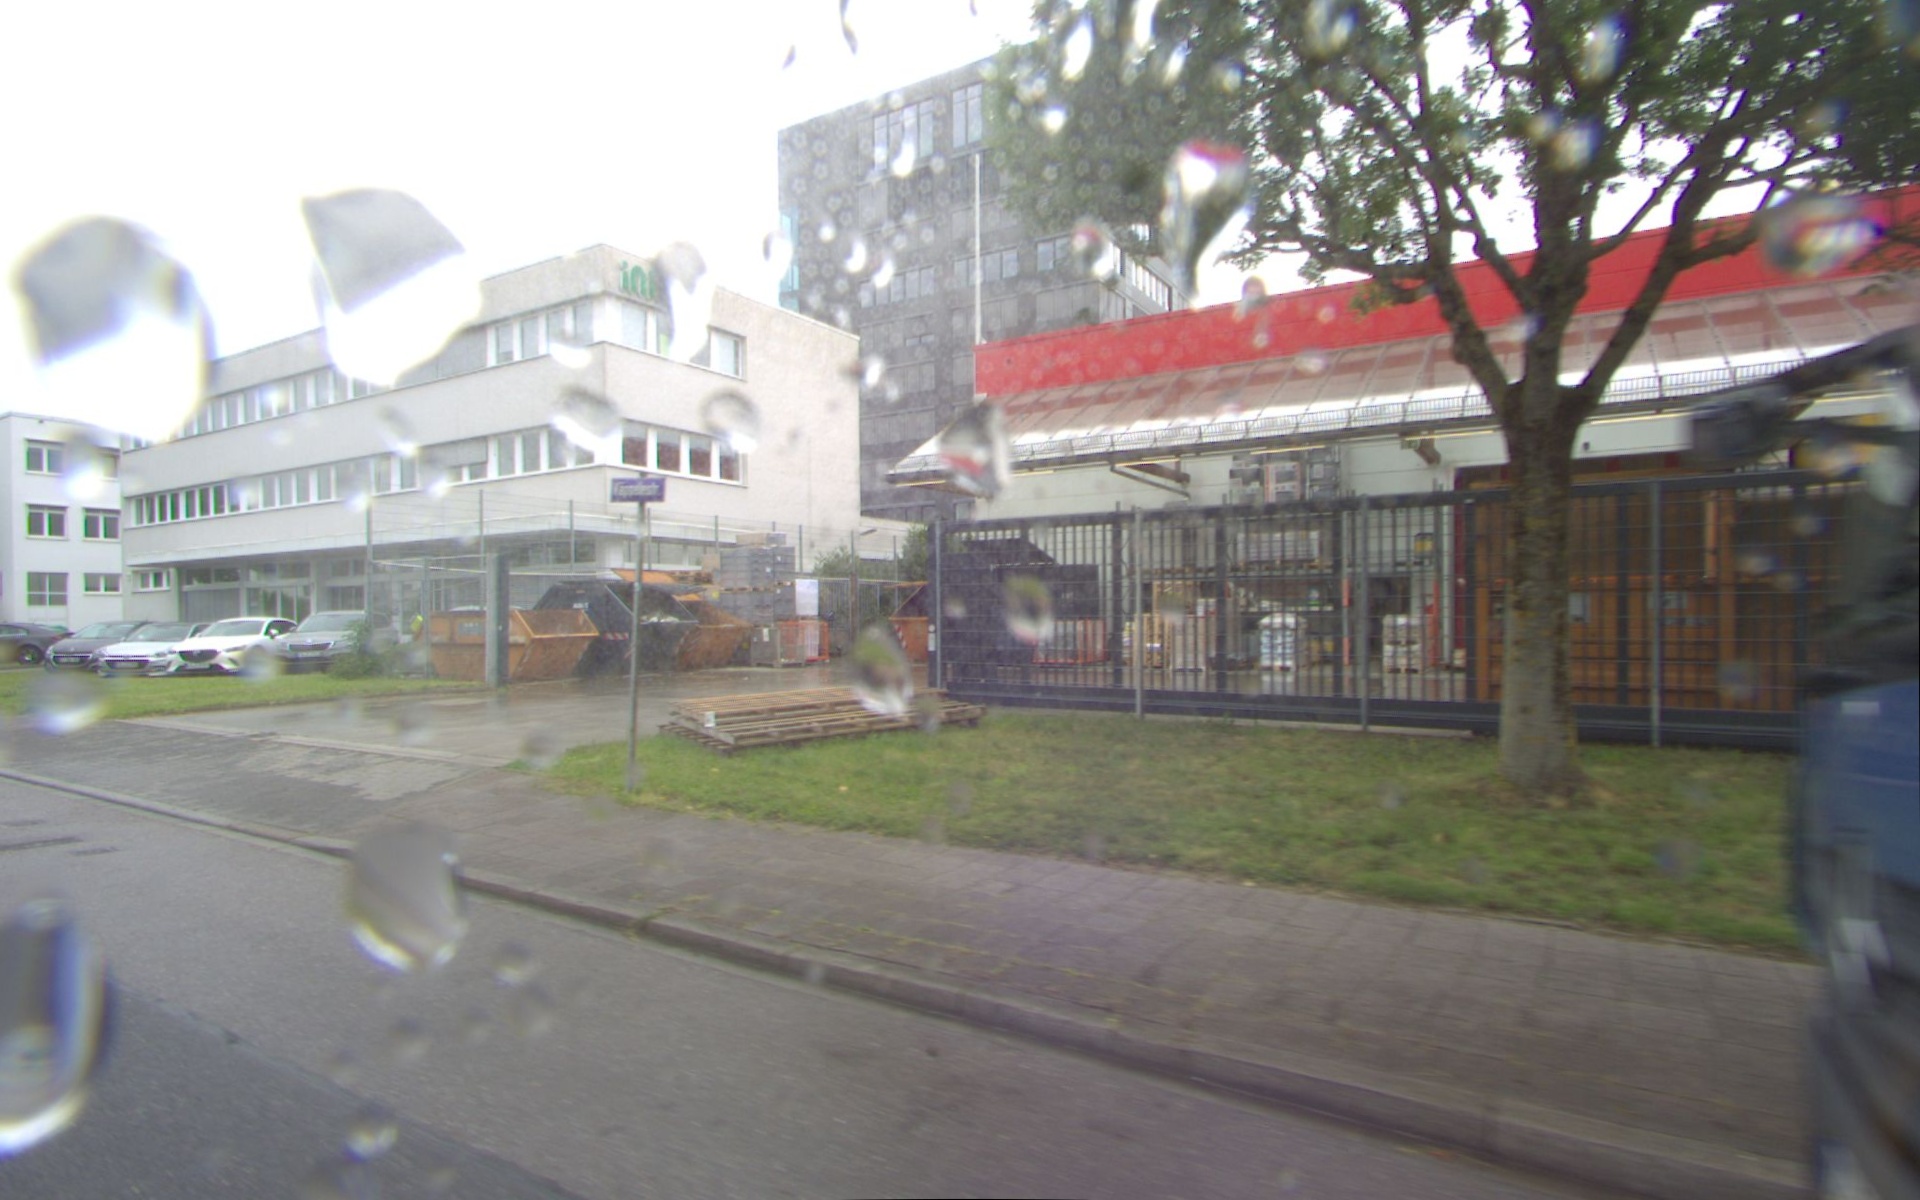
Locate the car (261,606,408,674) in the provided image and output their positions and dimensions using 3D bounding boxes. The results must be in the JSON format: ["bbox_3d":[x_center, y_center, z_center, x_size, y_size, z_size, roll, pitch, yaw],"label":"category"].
[{"bbox_3d":[-15.407,0.940,24.921,1.838,1.547,3.996,0,-1,-12],"label":"car"}]

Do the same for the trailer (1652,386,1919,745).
[{"bbox_3d":[14.151,-0.475,12.058,9.338,4.298,2.960,-2,-1,33],"label":"trailer"}]

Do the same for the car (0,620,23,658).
[{"bbox_3d":[-38.465,1.424,38.042,3.715,1.414,1.724,3,-1,-17],"label":"car"}]

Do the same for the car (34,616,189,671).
[{"bbox_3d":[-23.450,1.147,27.863,1.675,1.411,3.765,0,-1,-12],"label":"car"}]

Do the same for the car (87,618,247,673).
[{"bbox_3d":[-20.805,1.143,26.484,1.675,1.303,3.997,0,-1,-12],"label":"car"}]

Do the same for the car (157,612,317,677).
[{"bbox_3d":[-17.949,1.053,25.097,1.742,1.489,3.997,0,-1,-12],"label":"car"}]

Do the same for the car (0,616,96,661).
[{"bbox_3d":[-32.952,1.315,34.389,4.596,1.487,1.787,0,0,-20],"label":"car"}]

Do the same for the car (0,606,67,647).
[{"bbox_3d":[-49.858,1.352,50.852,1.969,2.039,6.449,-1,-2,28],"label":"car"}]
